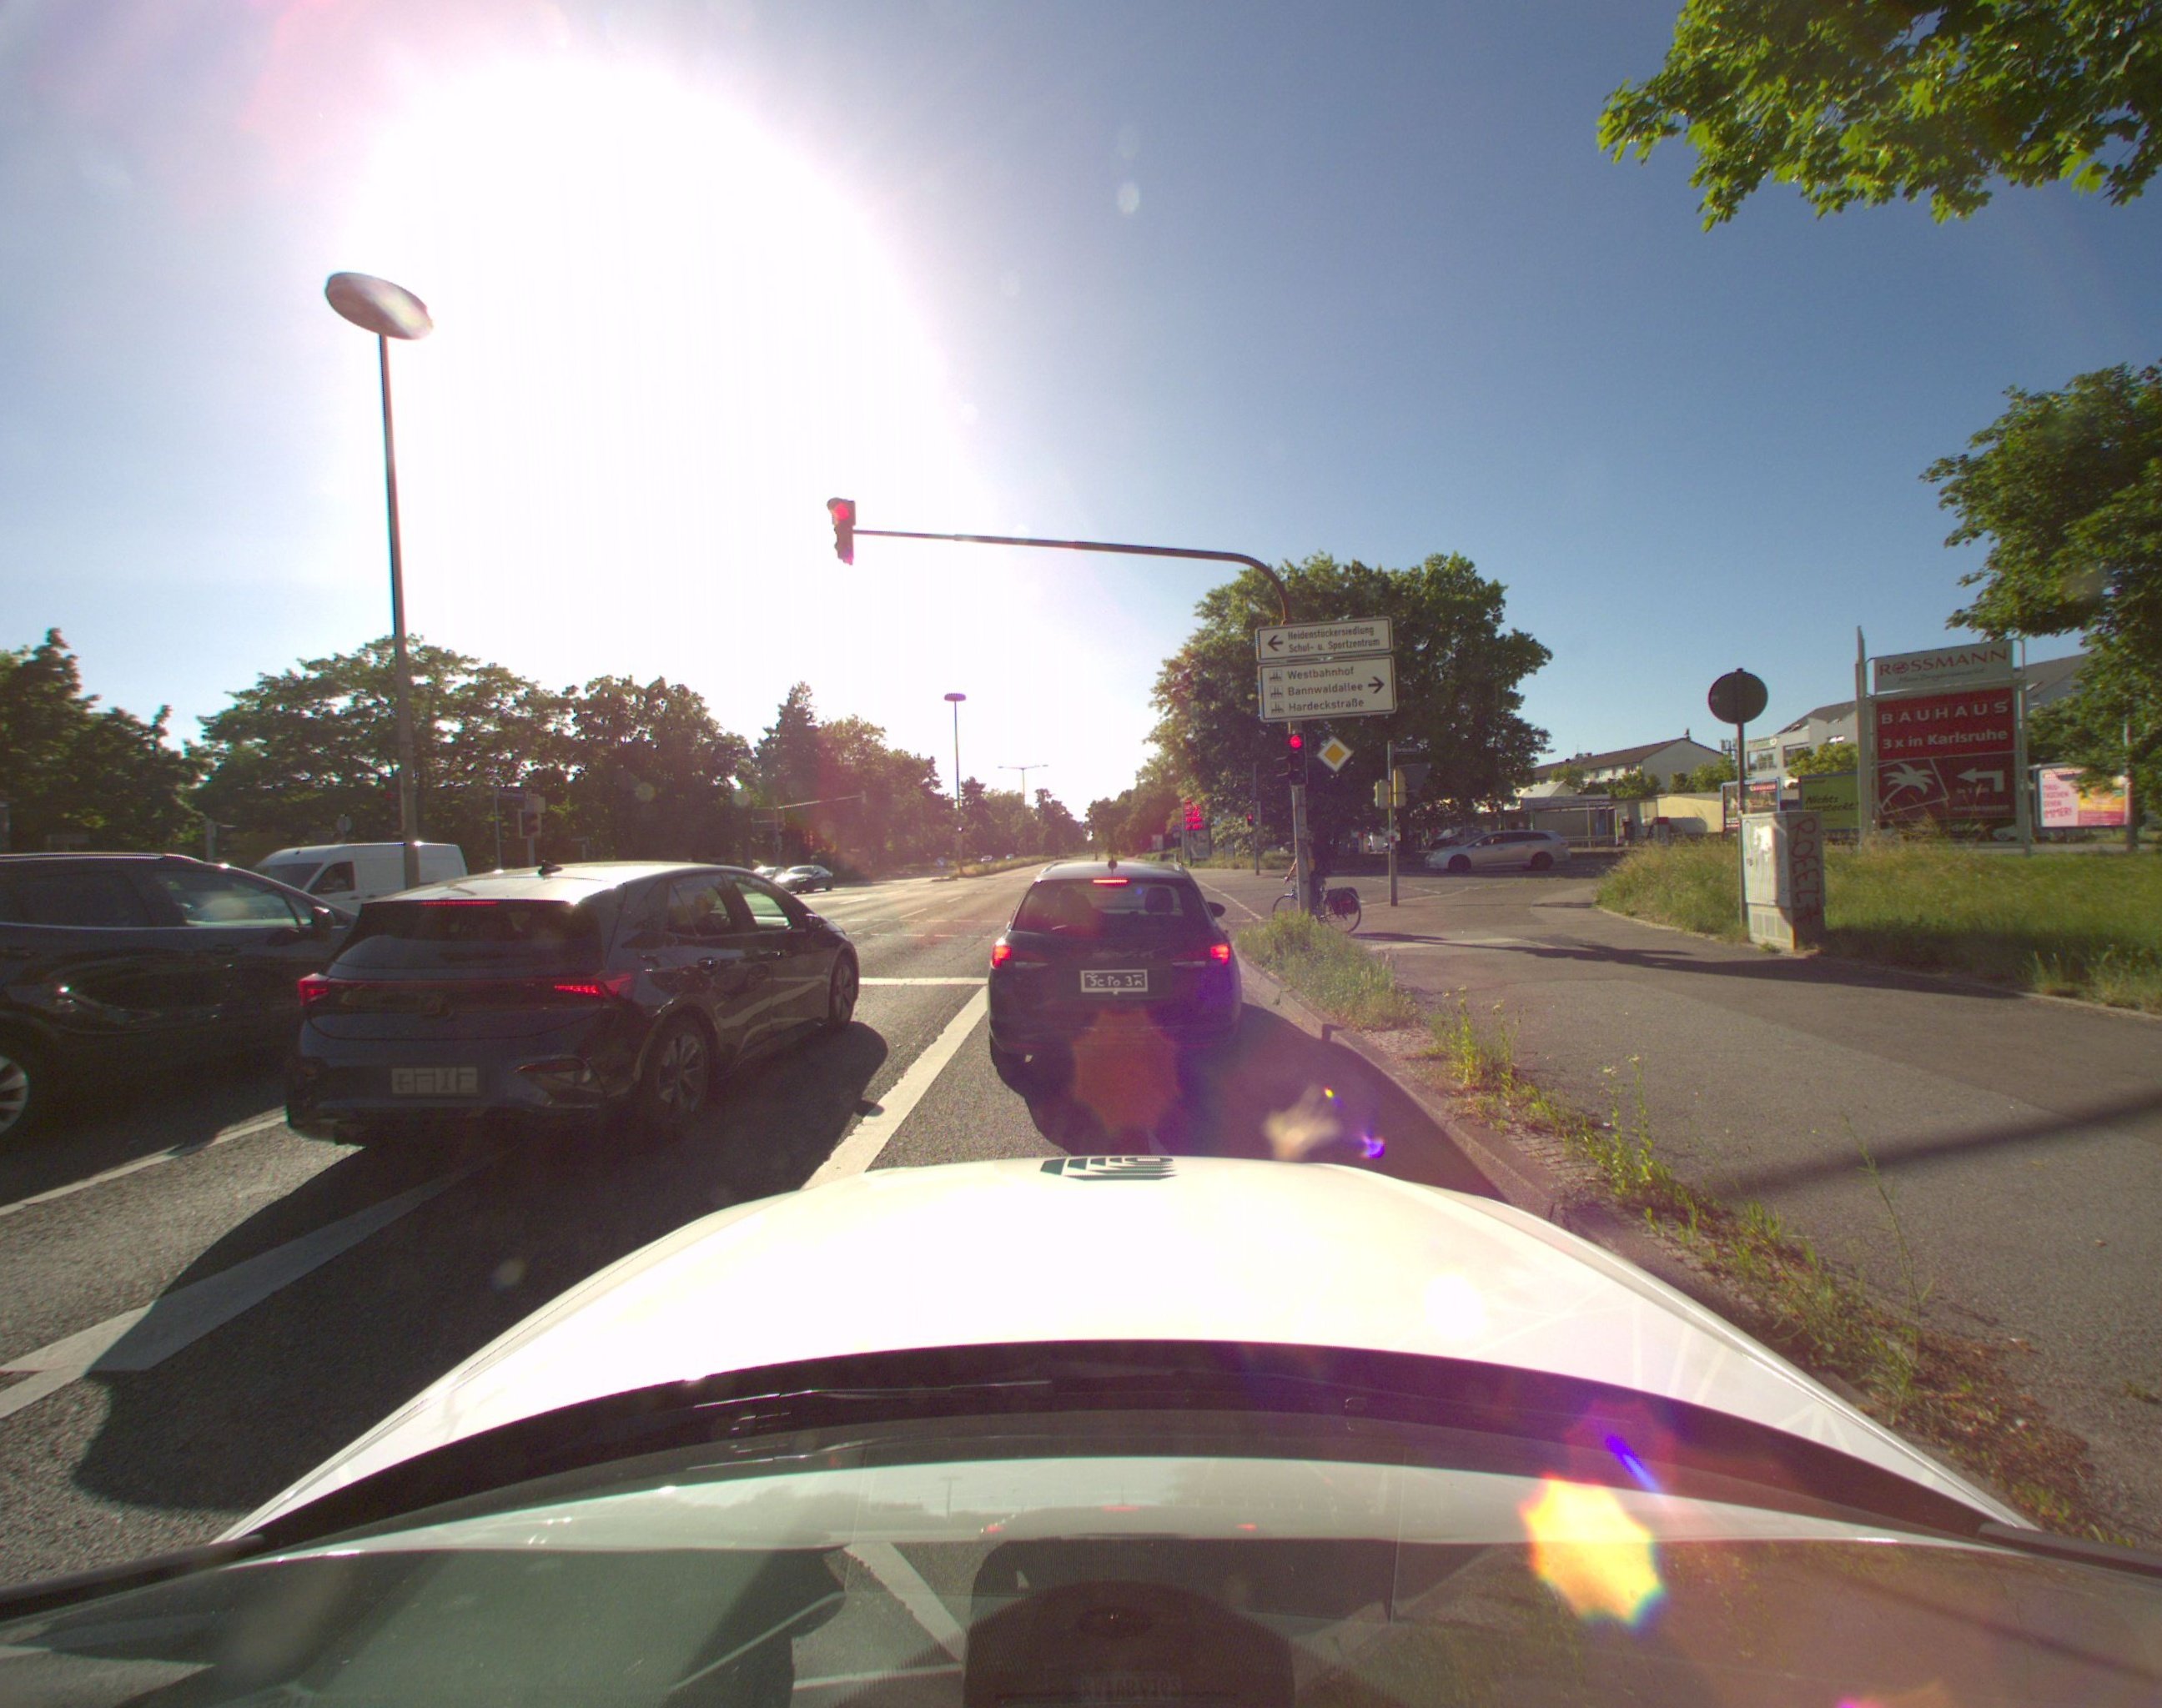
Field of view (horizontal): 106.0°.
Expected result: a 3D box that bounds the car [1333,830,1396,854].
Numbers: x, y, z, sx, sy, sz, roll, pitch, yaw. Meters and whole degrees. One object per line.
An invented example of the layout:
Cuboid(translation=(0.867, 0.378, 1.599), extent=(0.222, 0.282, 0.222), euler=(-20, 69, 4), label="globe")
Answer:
Cuboid(translation=(19.662, -0.827, 56.436), extent=(3.903, 1.517, 1.733), euler=(-3, 0, -21), label="car")

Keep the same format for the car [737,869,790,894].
Cuboid(translation=(-17.734, 1.510, 45.687), extent=(1.384, 1.235, 3.637), euler=(-3, 0, 2), label="car")

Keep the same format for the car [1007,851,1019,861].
Cuboid(translation=(-14.203, 0.415, 170.781), extent=(1.986, 2.013, 4.001), euler=(-3, 0, 1), label="car")

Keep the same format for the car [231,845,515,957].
Cuboid(translation=(-18.425, 1.065, 21.779), extent=(2.092, 2.492, 6.007), euler=(-3, 0, 2), label="car")

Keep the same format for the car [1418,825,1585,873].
Cuboid(translation=(14.962, -0.169, 29.296), extent=(4.969, 1.486, 2.007), euler=(-2, 0, 13), label="car")

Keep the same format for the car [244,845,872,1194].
Cuboid(translation=(-2.962, 0.776, 5.860), extent=(1.678, 1.580, 4.208), euler=(-1, 0, 2), label="car")

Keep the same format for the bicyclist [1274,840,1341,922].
Cuboid(translation=(3.717, 0.447, 13.379), extent=(0.541, 1.277, 0.819), euler=(-3, -2, -42), label="bicyclist")

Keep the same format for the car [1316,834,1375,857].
Cuboid(translation=(19.328, -0.620, 59.528), extent=(3.903, 1.517, 1.733), euler=(-3, 0, -21), label="car")

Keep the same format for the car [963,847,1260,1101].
Cuboid(translation=(0.247, 0.729, 6.968), extent=(1.750, 1.495, 4.208), euler=(-1, 0, 2), label="car")

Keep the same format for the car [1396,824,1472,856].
Cuboid(translation=(21.403, -0.847, 49.380), extent=(4.003, 1.749, 1.985), euler=(-3, 0, -22), label="car")

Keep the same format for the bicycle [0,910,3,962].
Cuboid(translation=(-26.058, 1.970, 18.093), extent=(0.874, 1.212, 2.533), euler=(-3, 0, -3), label="bicycle")

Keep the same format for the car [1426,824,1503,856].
Cuboid(translation=(22.377, -0.819, 47.528), extent=(4.002, 1.680, 1.733), euler=(-3, 0, -21), label="car")

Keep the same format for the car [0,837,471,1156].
Cuboid(translation=(-6.622, 0.793, 5.523), extent=(1.798, 1.689, 4.002), euler=(-3, 0, 2), label="car")

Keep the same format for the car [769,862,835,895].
Cuboid(translation=(-14.216, 1.230, 41.789), extent=(1.769, 1.463, 4.166), euler=(-3, 0, 2), label="car")

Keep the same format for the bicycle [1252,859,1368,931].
Cuboid(translation=(3.730, 0.689, 13.375), extent=(0.541, 1.097, 1.755), euler=(-3, -2, -42), label="bicycle")

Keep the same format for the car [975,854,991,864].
Cuboid(translation=(-16.356, 0.850, 136.264), extent=(1.986, 1.530, 4.001), euler=(-3, 0, 1), label="car")

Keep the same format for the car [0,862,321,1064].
Cuboid(translation=(-10.225, 0.994, 7.925), extent=(1.824, 1.702, 3.999), euler=(-3, 0, 0), label="car")
